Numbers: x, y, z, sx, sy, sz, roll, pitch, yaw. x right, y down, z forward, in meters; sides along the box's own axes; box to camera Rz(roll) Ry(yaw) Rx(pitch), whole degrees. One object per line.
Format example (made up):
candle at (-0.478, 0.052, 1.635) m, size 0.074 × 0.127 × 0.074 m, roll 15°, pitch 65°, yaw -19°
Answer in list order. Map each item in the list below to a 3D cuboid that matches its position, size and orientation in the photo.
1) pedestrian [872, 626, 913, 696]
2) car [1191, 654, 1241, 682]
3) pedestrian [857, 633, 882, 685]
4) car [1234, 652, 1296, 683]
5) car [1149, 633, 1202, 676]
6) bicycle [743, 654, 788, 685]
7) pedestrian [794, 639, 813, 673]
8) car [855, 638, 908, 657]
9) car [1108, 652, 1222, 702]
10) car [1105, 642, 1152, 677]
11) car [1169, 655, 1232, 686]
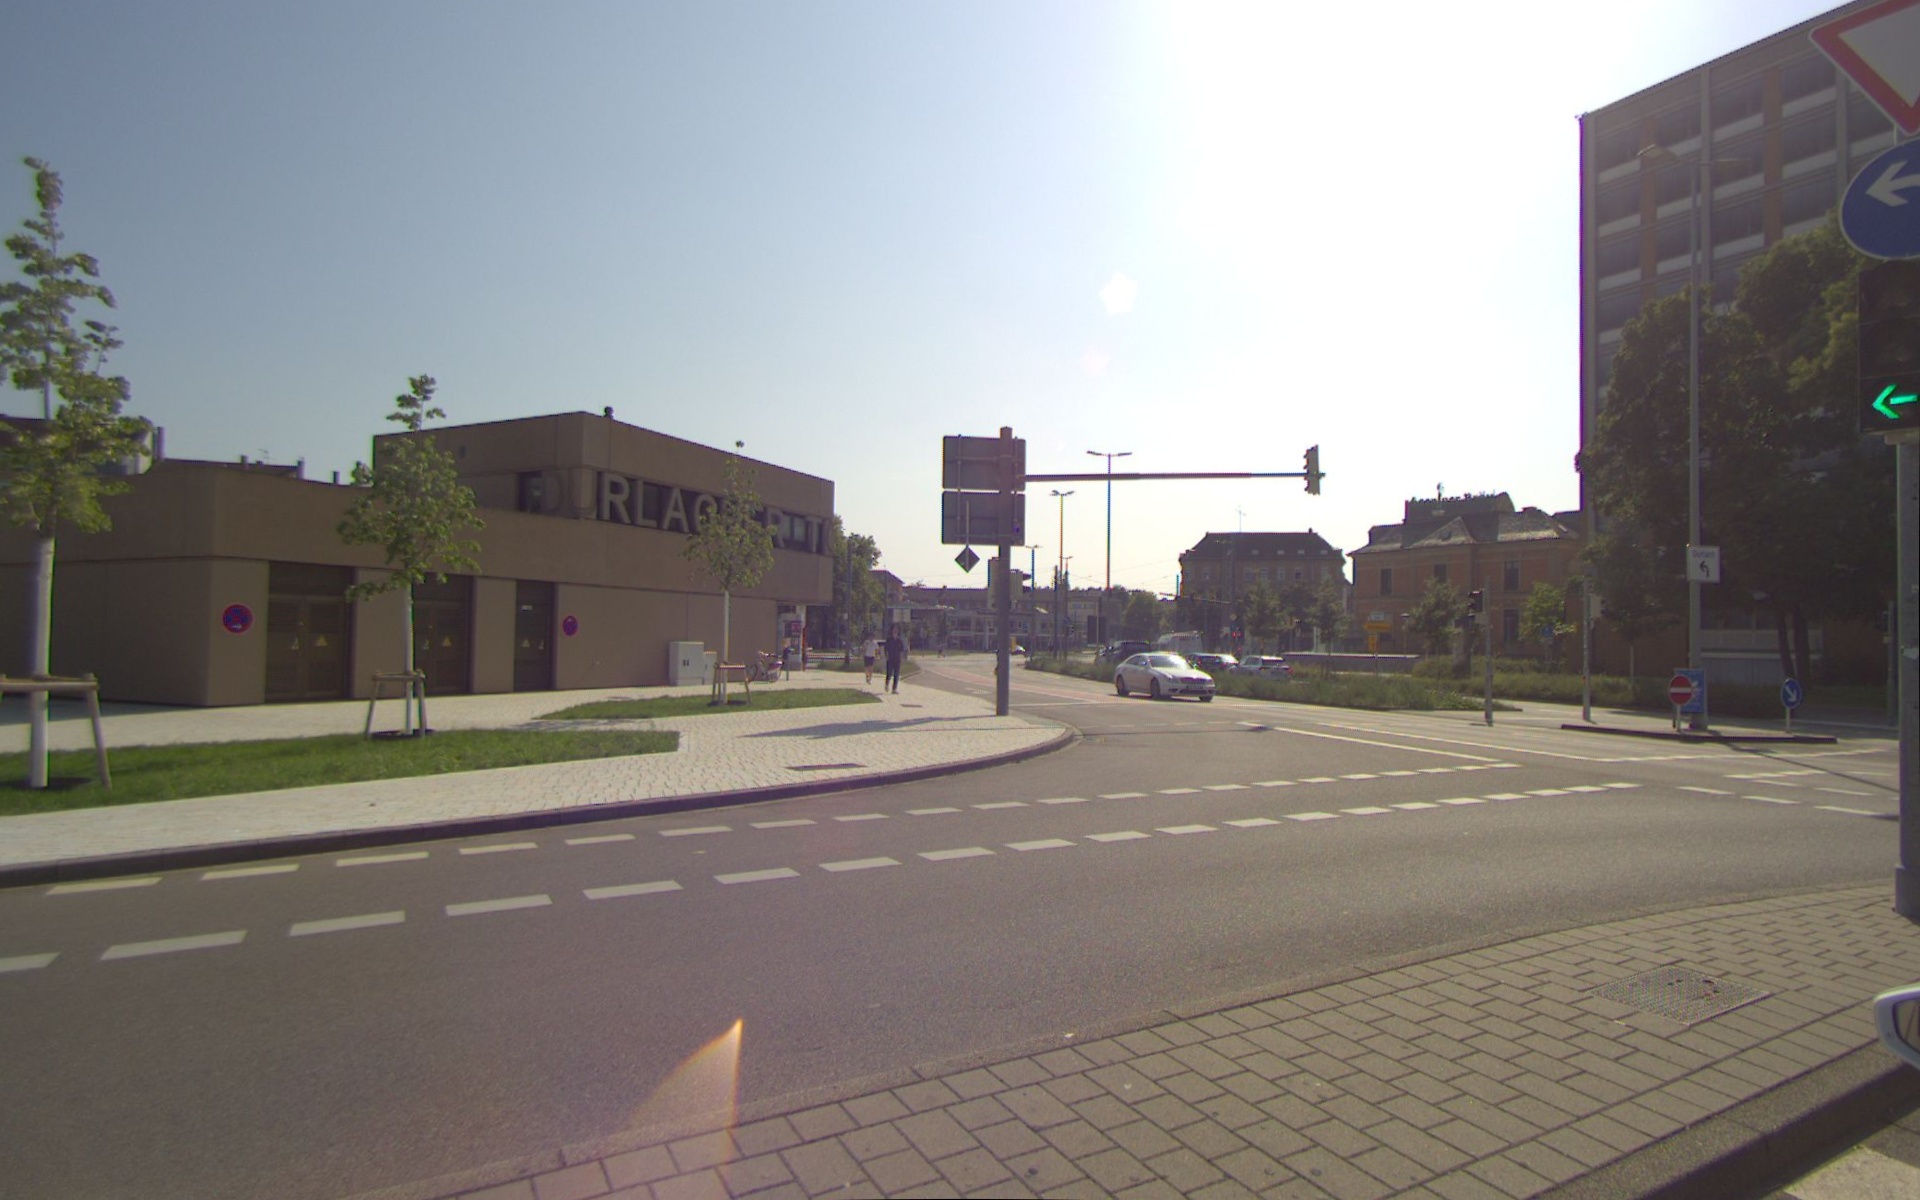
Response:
pedestrian at (-1.865, 1.668, 27.724) m, size 0.721 × 1.864 × 1.074 m, roll 1°, pitch 0°, yaw -28°
car at (13.969, 3.698, 55.081) m, size 1.465 × 1.421 × 3.941 m, roll 2°, pitch -3°, yaw -4°
pedestrian at (-3.261, 2.112, 36.187) m, size 0.686 × 1.857 × 0.567 m, roll 2°, pitch -2°, yaw -26°
car at (14.697, 3.231, 48.621) m, size 1.658 × 1.405 × 3.633 m, roll 2°, pitch -3°, yaw -4°
car at (13.682, 3.502, 64.032) m, size 2.153 × 2.582 × 4.684 m, roll 2°, pitch -3°, yaw -2°
bicycle at (-6.582, 2.333, 34.028) m, size 0.648 × 0.968 × 1.612 m, roll 2°, pitch -2°, yaw 25°
pedestrian at (-8.476, 3.025, 54.359) m, size 0.673 × 1.782 × 0.869 m, roll 3°, pitch -3°, yaw -38°
car at (-8.693, 5.239, 110.845) m, size 5.475 × 2.040 × 1.992 m, roll 2°, pitch -2°, yaw -19°
car at (6.363, 2.381, 31.781) m, size 1.815 × 1.379 × 4.810 m, roll 1°, pitch -2°, yaw -12°
car at (10.391, 3.687, 62.259) m, size 1.991 × 2.034 × 4.684 m, roll 2°, pitch -3°, yaw -2°
car at (11.676, 3.401, 48.988) m, size 1.675 × 1.385 × 3.960 m, roll 2°, pitch -3°, yaw -8°
